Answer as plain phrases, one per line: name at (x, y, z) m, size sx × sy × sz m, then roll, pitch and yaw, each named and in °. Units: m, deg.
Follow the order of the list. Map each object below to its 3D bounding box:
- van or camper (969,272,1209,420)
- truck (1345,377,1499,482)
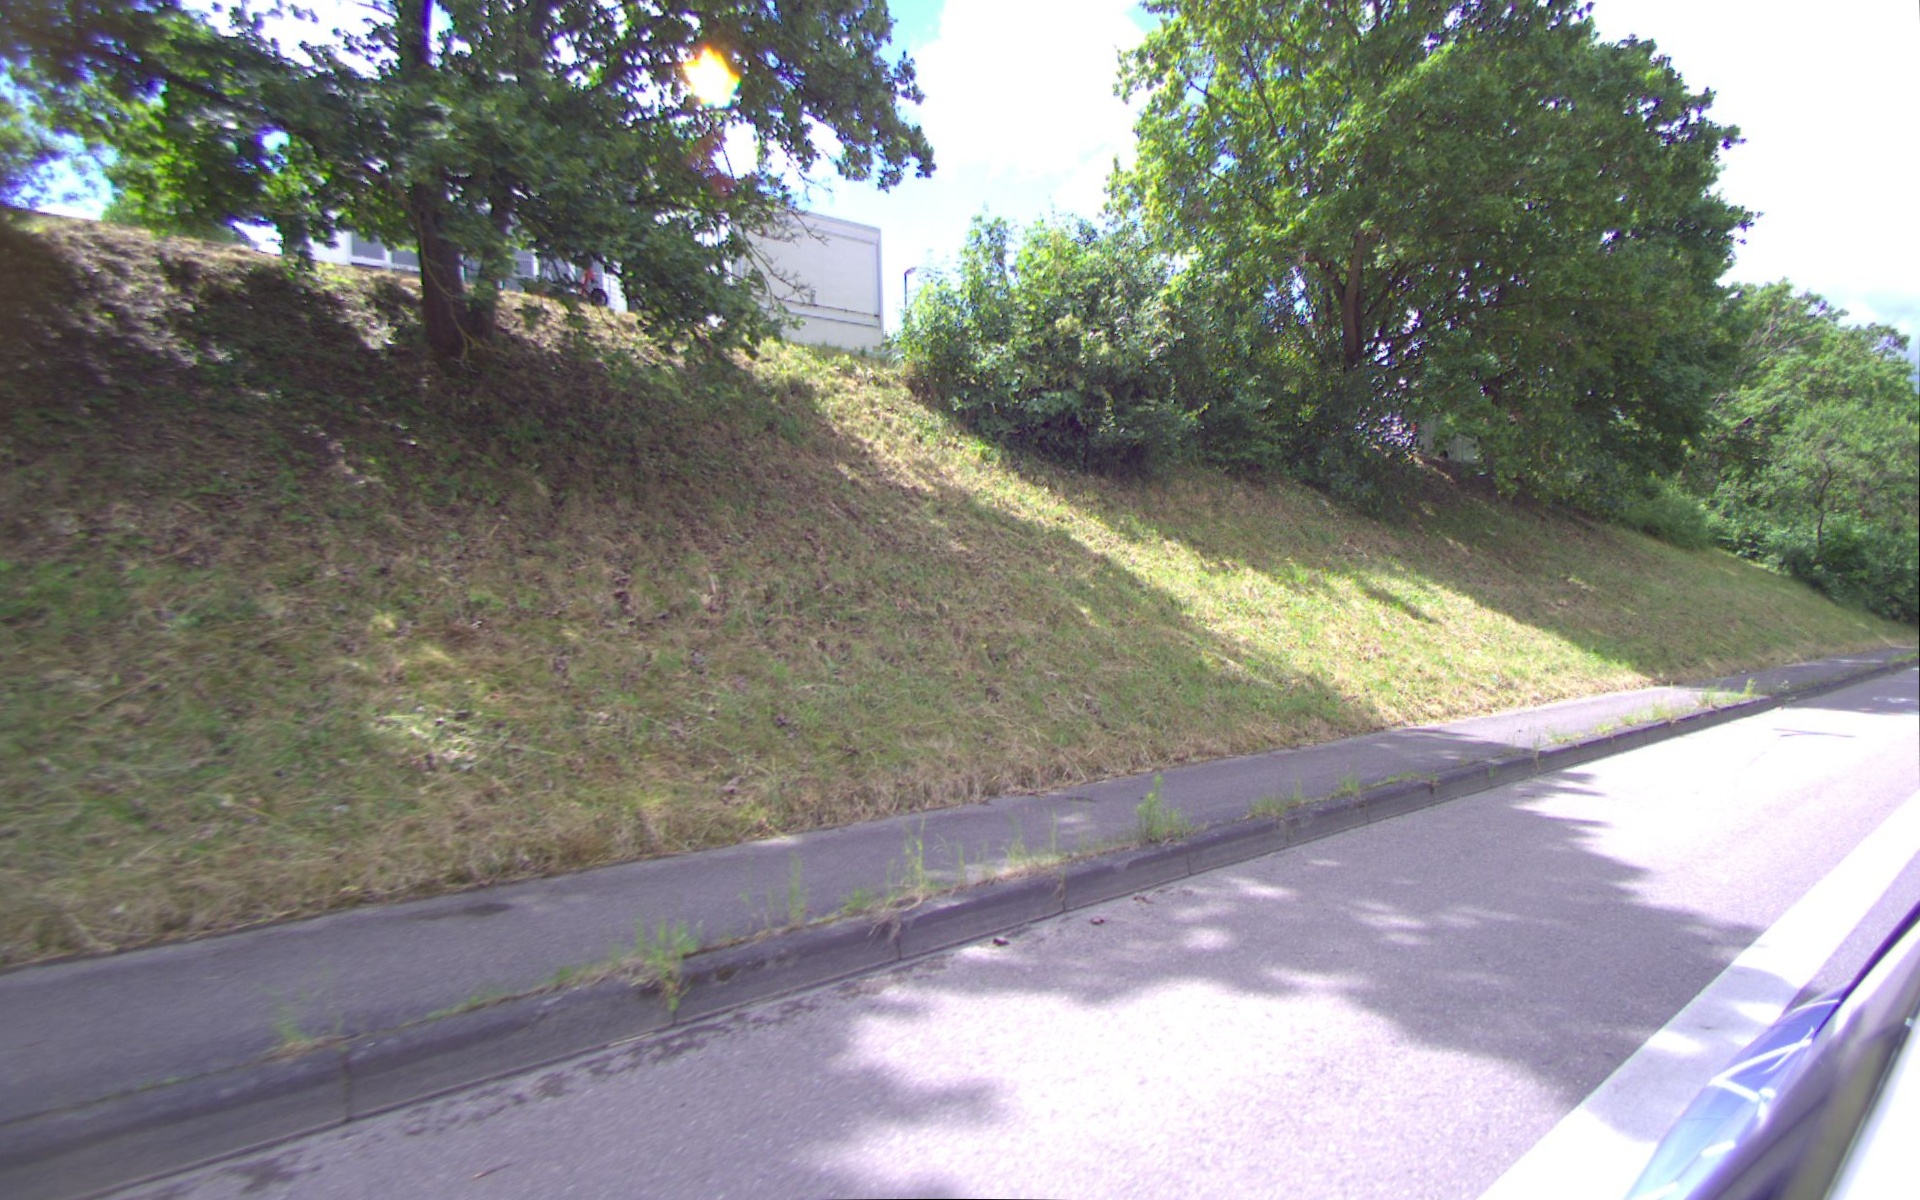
van or camper at (3.181, -5.753, 23.770) m, size 6.057 × 2.096 × 2.219 m, roll 0°, pitch 1°, yaw -42°
truck at (16.429, -5.869, 35.727) m, size 6.918 × 2.692 × 2.354 m, roll 0°, pitch 1°, yaw -41°
